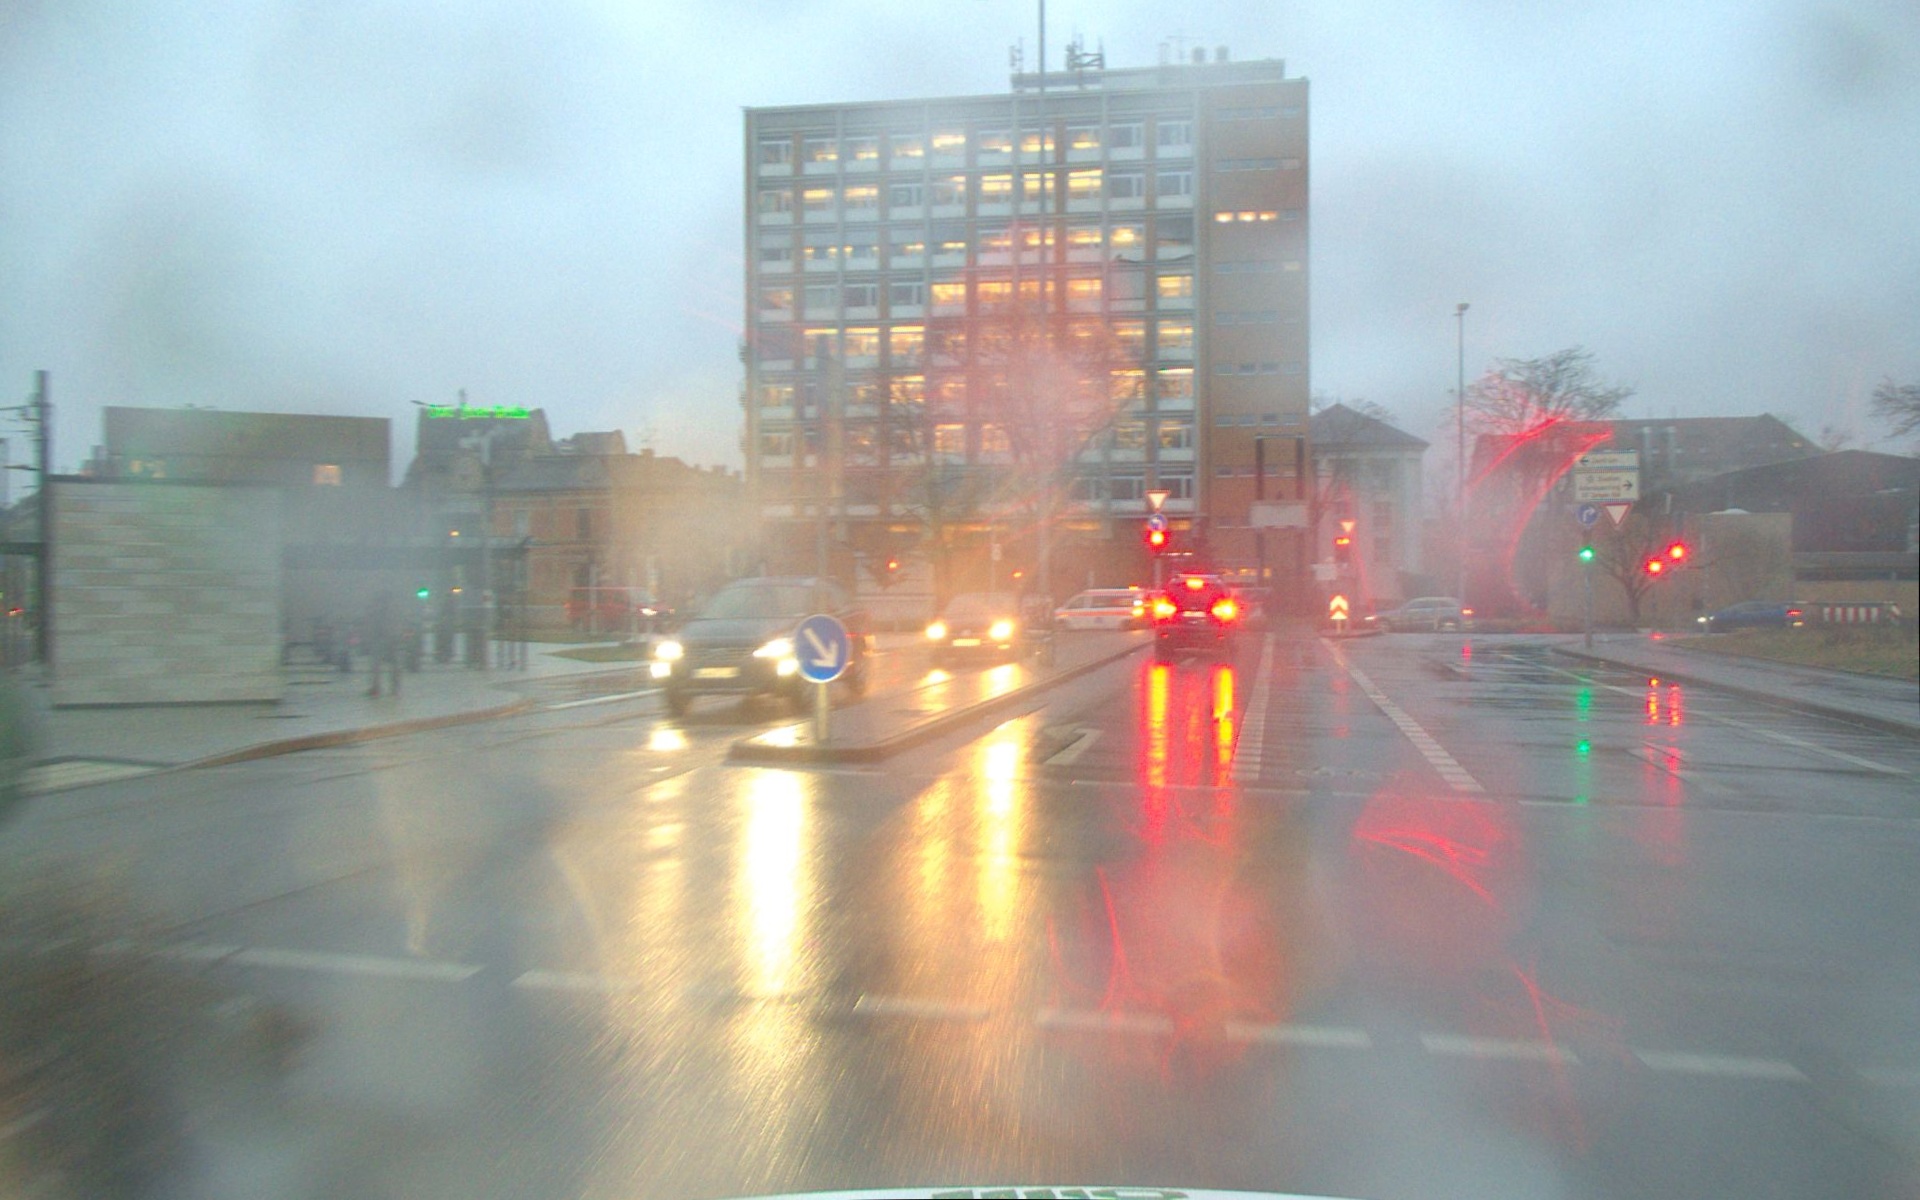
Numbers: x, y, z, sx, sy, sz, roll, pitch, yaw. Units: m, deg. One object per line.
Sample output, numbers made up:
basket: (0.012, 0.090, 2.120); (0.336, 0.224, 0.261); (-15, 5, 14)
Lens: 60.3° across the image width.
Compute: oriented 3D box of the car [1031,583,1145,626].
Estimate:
car: (6.138, 0.206, 79.421); (5.054, 1.946, 1.997); (1, 0, 27)

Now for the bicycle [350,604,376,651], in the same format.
bicycle: (-15.358, 0.703, 42.560); (0.540, 1.185, 1.889); (2, -1, -18)

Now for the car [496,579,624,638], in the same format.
car: (-16.822, 0.351, 69.514); (4.924, 2.321, 2.255); (1, -2, 28)

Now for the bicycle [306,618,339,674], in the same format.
bicycle: (-13.902, 0.989, 36.102); (0.540, 1.185, 1.889); (2, -1, -18)

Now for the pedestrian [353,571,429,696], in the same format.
pedestrian: (-7.953, 0.470, 23.136); (0.659, 1.703, 0.731); (1, -2, 14)

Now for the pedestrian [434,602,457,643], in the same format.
pedestrian: (-22.121, 0.959, 71.161); (0.452, 1.726, 0.793); (1, -2, 34)

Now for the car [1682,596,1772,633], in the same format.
car: (31.989, 0.603, 68.959); (3.344, 1.422, 1.468); (1, -1, 27)

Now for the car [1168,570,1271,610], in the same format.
car: (14.583, -0.540, 92.821); (5.430, 2.060, 2.001); (1, -1, 17)

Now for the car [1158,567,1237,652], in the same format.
car: (5.562, 0.188, 38.456); (1.612, 1.850, 4.004); (1, 1, 11)

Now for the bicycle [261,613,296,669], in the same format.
bicycle: (-14.868, 0.879, 36.118); (0.540, 1.185, 1.889); (2, -1, -18)

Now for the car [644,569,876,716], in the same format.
car: (-2.468, 0.479, 21.622); (1.716, 1.691, 4.534); (-1, 0, 10)

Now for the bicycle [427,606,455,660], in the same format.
bicycle: (-11.948, 0.753, 38.069); (0.540, 1.185, 1.889); (2, -1, -18)

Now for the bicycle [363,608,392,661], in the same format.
bicycle: (-13.477, 0.793, 38.296); (0.540, 1.185, 1.889); (2, -1, -18)

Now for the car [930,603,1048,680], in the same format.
car: (0.672, 0.812, 34.253); (1.709, 1.402, 4.370); (-2, 0, 10)

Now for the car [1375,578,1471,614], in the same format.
car: (20.346, -0.181, 72.681); (3.840, 1.511, 1.467); (1, -2, 27)
